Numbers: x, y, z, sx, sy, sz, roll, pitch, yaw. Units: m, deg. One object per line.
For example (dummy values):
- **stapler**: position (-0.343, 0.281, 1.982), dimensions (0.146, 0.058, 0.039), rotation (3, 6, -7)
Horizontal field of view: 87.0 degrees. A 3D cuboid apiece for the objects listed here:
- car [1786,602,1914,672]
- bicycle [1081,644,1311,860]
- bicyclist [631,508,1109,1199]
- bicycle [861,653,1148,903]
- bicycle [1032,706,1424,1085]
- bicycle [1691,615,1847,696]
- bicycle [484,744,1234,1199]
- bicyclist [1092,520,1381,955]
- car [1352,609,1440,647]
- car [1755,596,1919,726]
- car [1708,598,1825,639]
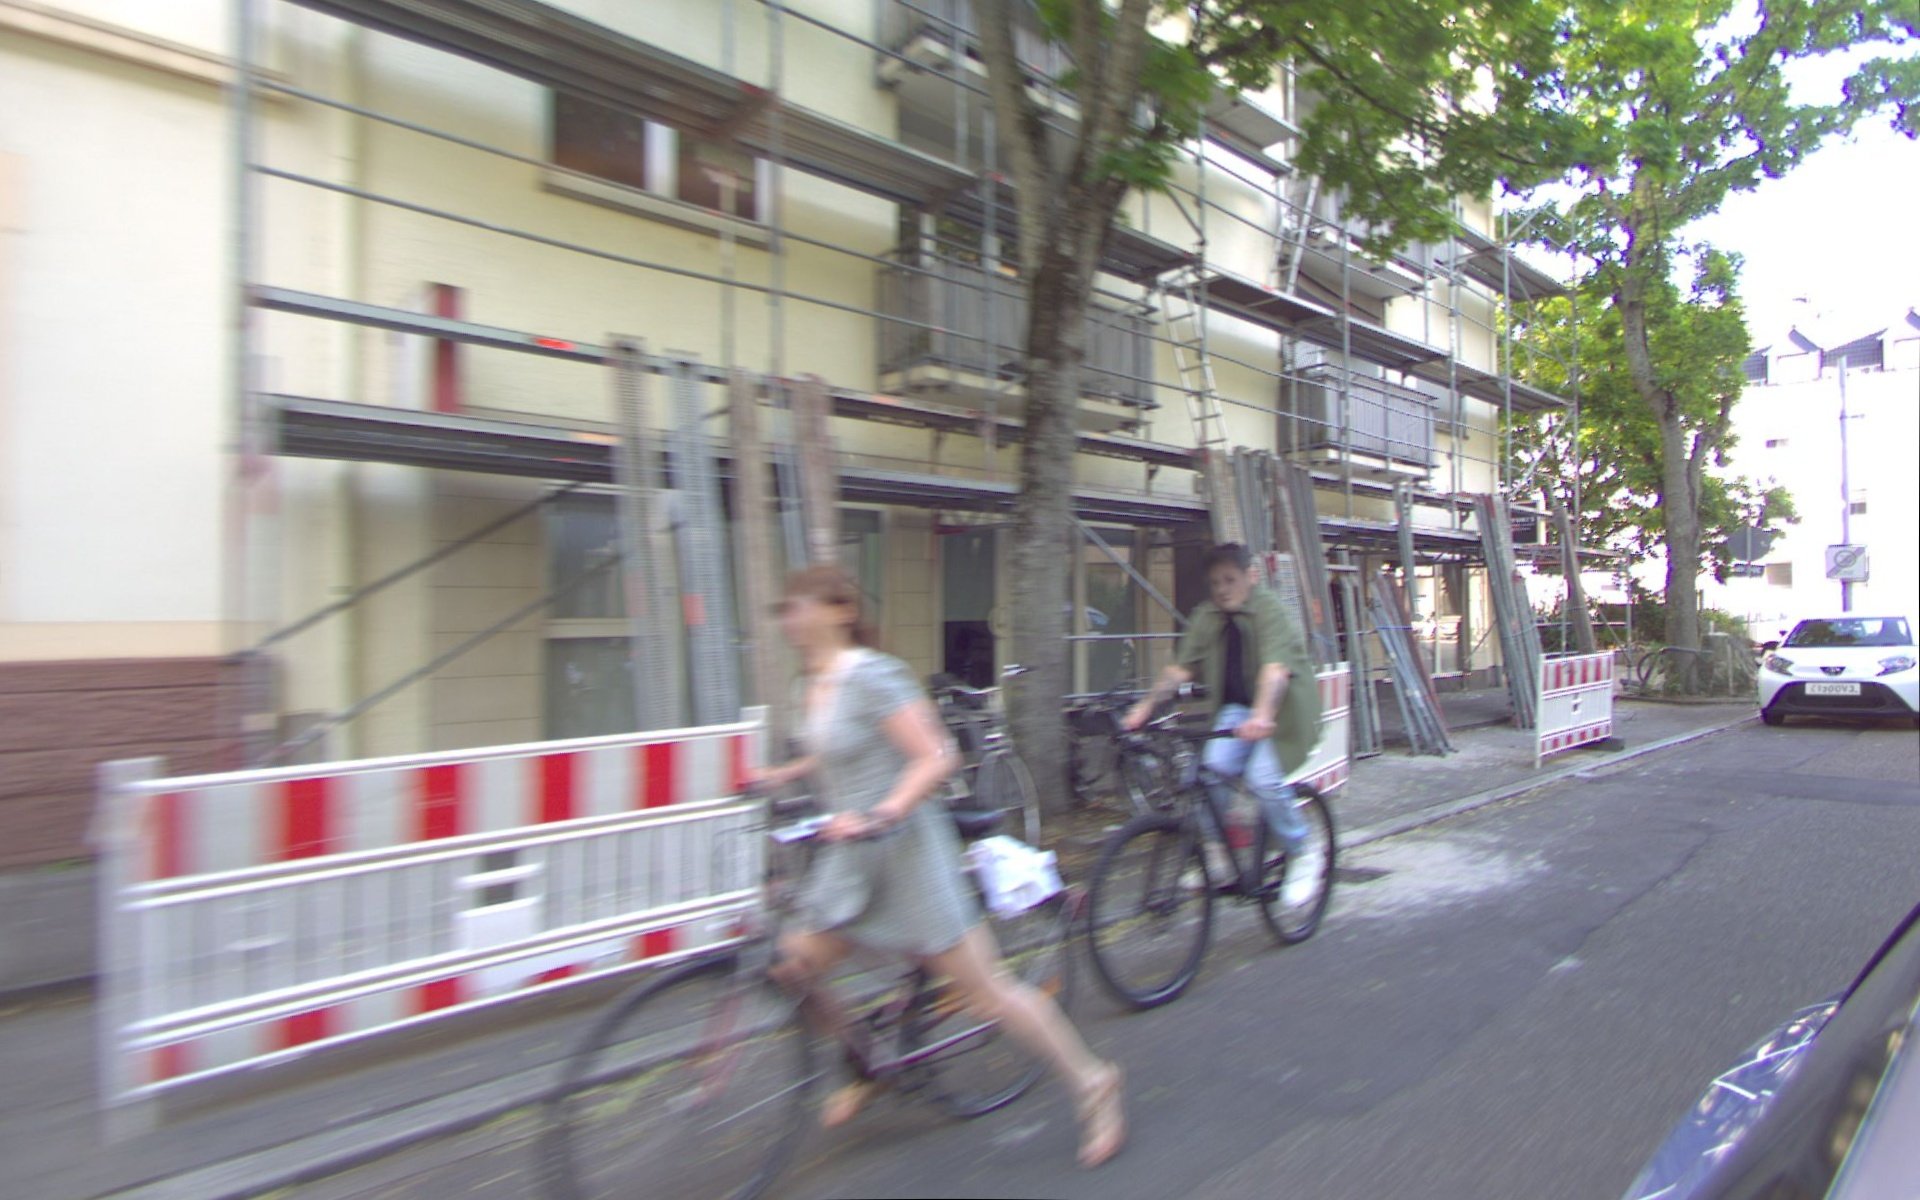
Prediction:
- **car**: position (21.048, 0.806, 23.877), dimensions (4.428, 1.425, 1.664), rotation (0, 2, -41)
- **bicycle**: position (1.445, 0.885, 6.633), dimensions (0.732, 1.136, 1.932), rotation (0, -1, -11)
- **bicyclist**: position (-0.249, 0.677, 2.636), dimensions (0.963, 1.711, 0.716), rotation (0, -3, -35)
- **bicycle**: position (0.161, 0.914, 5.948), dimensions (0.732, 1.136, 1.984), rotation (0, -1, -30)
- **bicycle**: position (1.204, 1.081, 4.291), dimensions (1.827, 1.073, 0.739), rotation (-1, -2, -44)
- **bicycle**: position (13.533, 0.896, 17.014), dimensions (1.960, 1.169, 0.742), rotation (3, 2, 36)
- **bicycle**: position (-0.188, 1.017, 2.667), dimensions (1.823, 1.059, 0.707), rotation (-1, -4, -35)
- **bicyclist**: position (1.181, 0.511, 4.312), dimensions (0.965, 1.585, 0.756), rotation (1, -3, -43)
- **car**: position (16.662, 1.047, 38.740), dimensions (2.865, 1.373, 1.245), rotation (-1, 0, 39)
- **car**: position (12.579, 0.749, 13.866), dimensions (3.893, 1.555, 1.806), rotation (0, -2, -39)
- **car**: position (33.699, 0.797, 42.326), dimensions (3.692, 1.628, 1.624), rotation (-2, -2, 42)
